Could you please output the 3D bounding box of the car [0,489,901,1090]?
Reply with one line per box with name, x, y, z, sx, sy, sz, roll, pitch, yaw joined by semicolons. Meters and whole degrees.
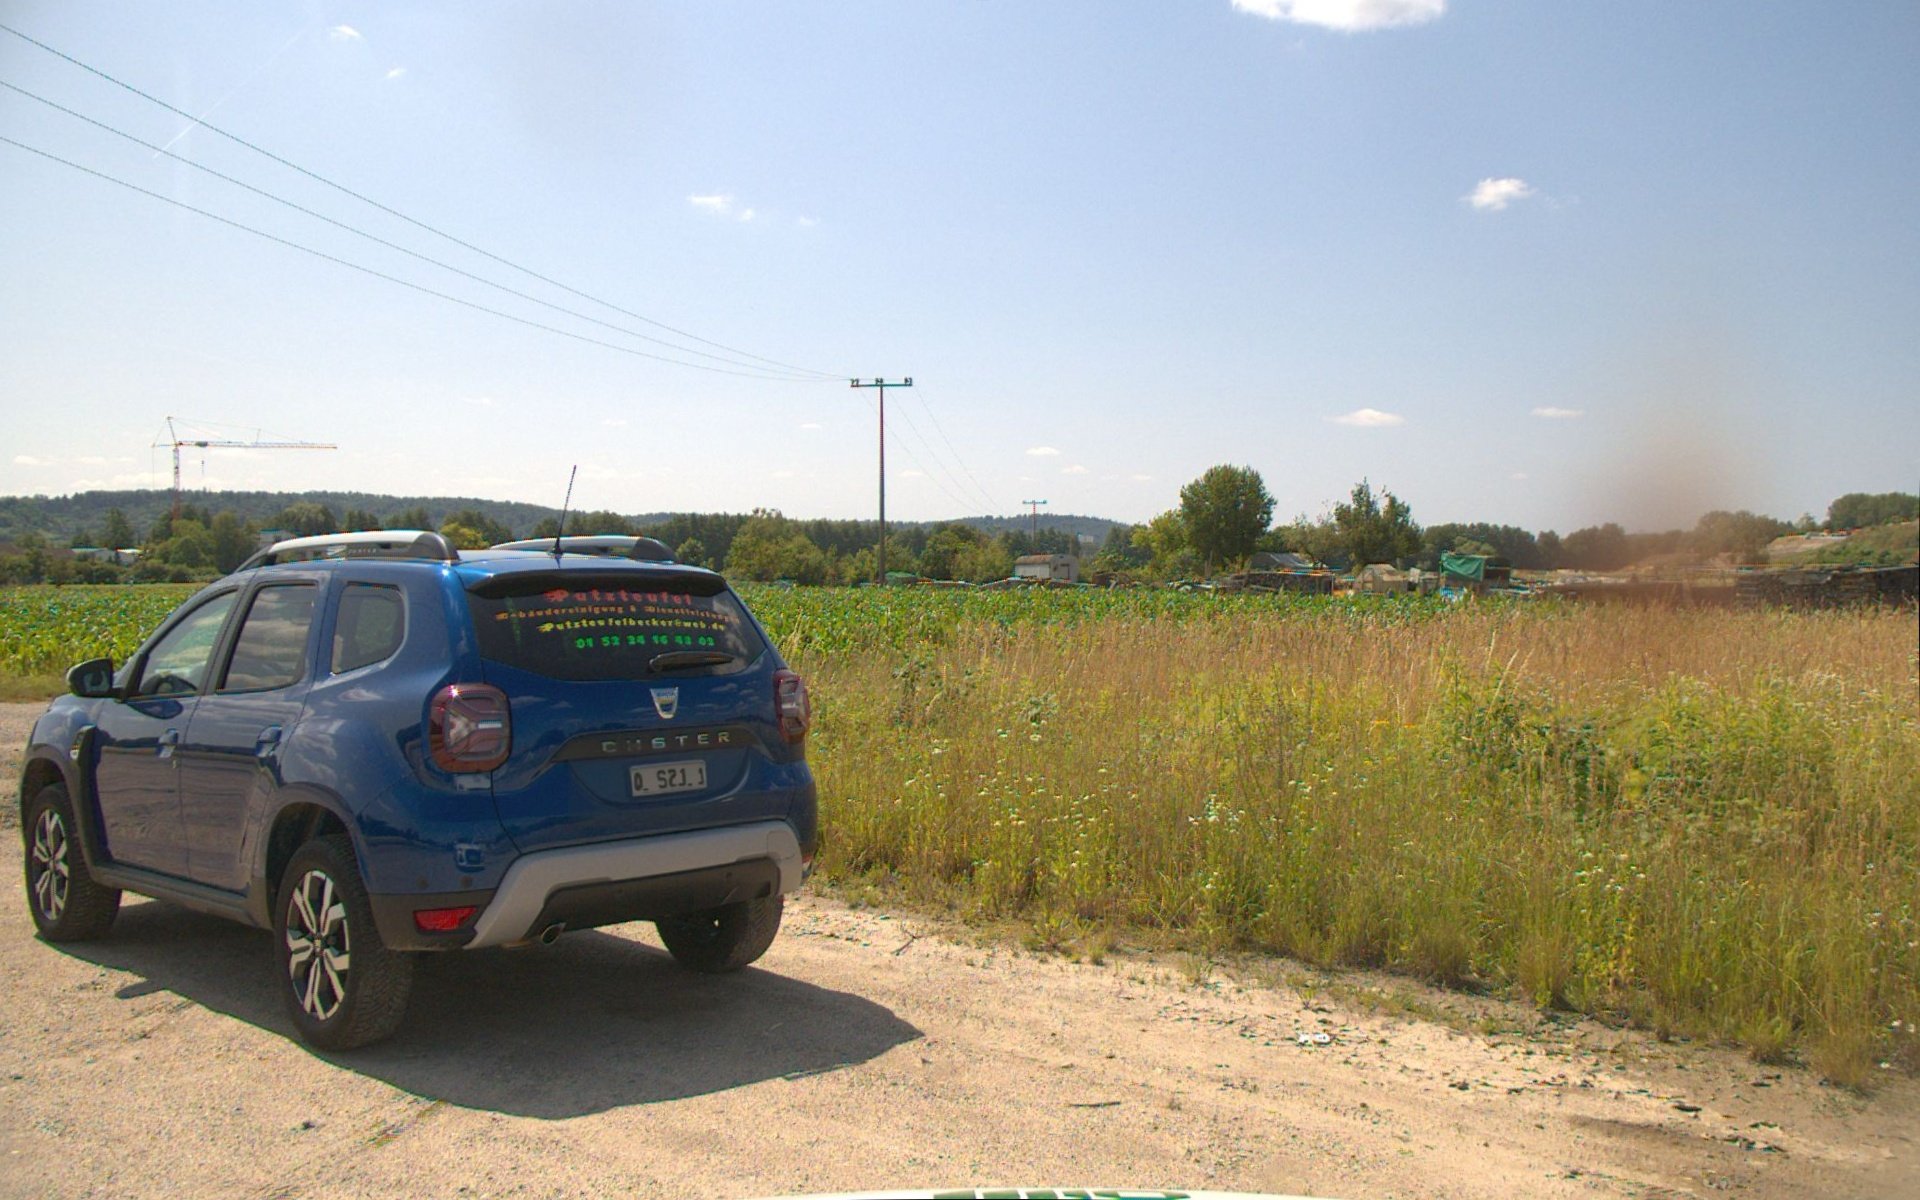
car;-2.417;0.551;6.870;4.382;1.690;1.852;-1;-1;44
